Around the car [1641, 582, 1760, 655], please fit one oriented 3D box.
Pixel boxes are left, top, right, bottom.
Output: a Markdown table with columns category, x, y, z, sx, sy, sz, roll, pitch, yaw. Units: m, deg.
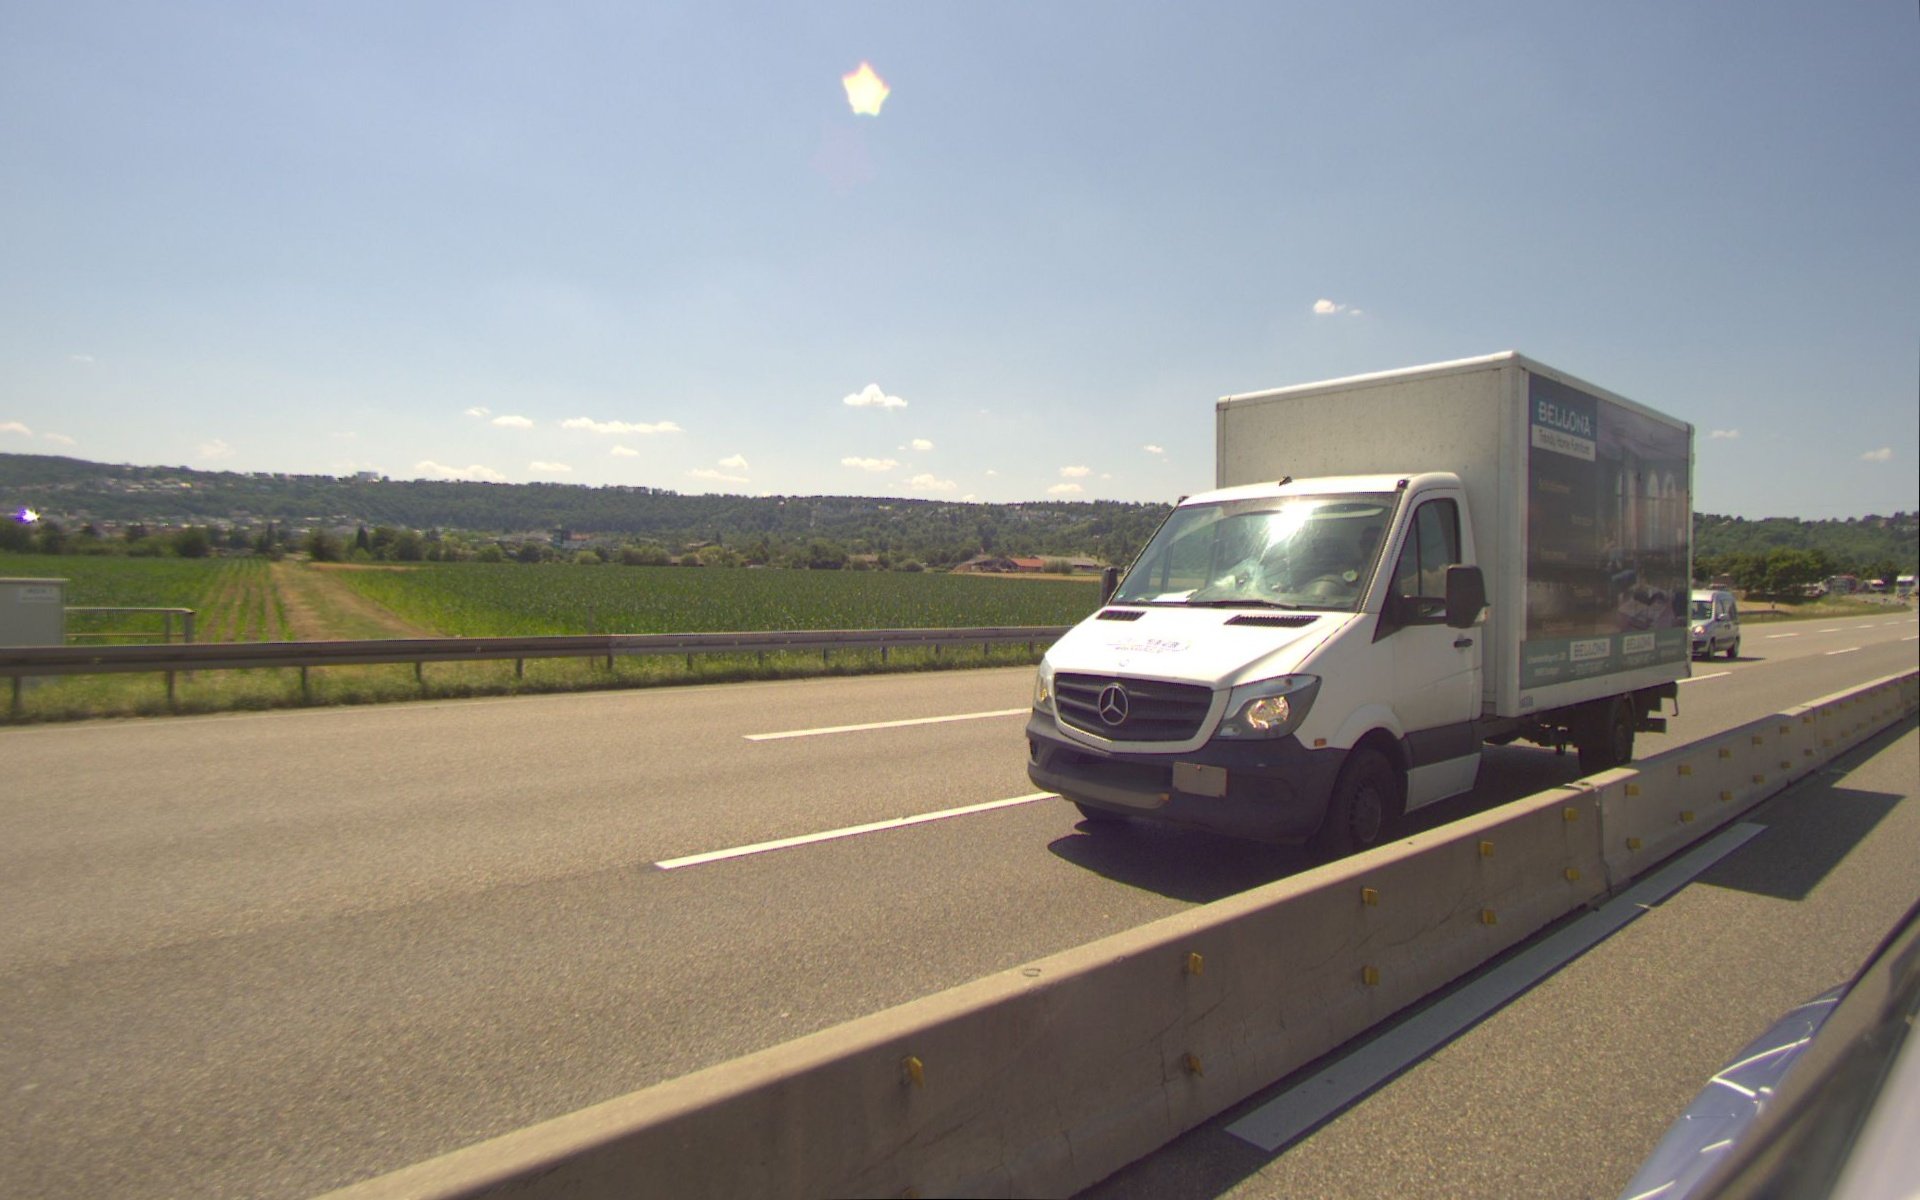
| category | x | y | z | sx | sy | sz | roll | pitch | yaw |
| --- | --- | --- | --- | --- | --- | --- | --- | --- | --- |
| car | 19.107 | 0.454 | 26.074 | 3.902 | 1.759 | 1.630 | 1 | 0 | -40 |

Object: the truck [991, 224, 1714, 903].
| category | x | y | z | sx | sy | sz | roll | pitch | yaw |
| --- | --- | --- | --- | --- | --- | --- | --- | --- | --- |
| truck | 3.455 | -0.156 | 7.699 | 6.632 | 3.106 | 2.325 | 1 | 0 | -41 |
